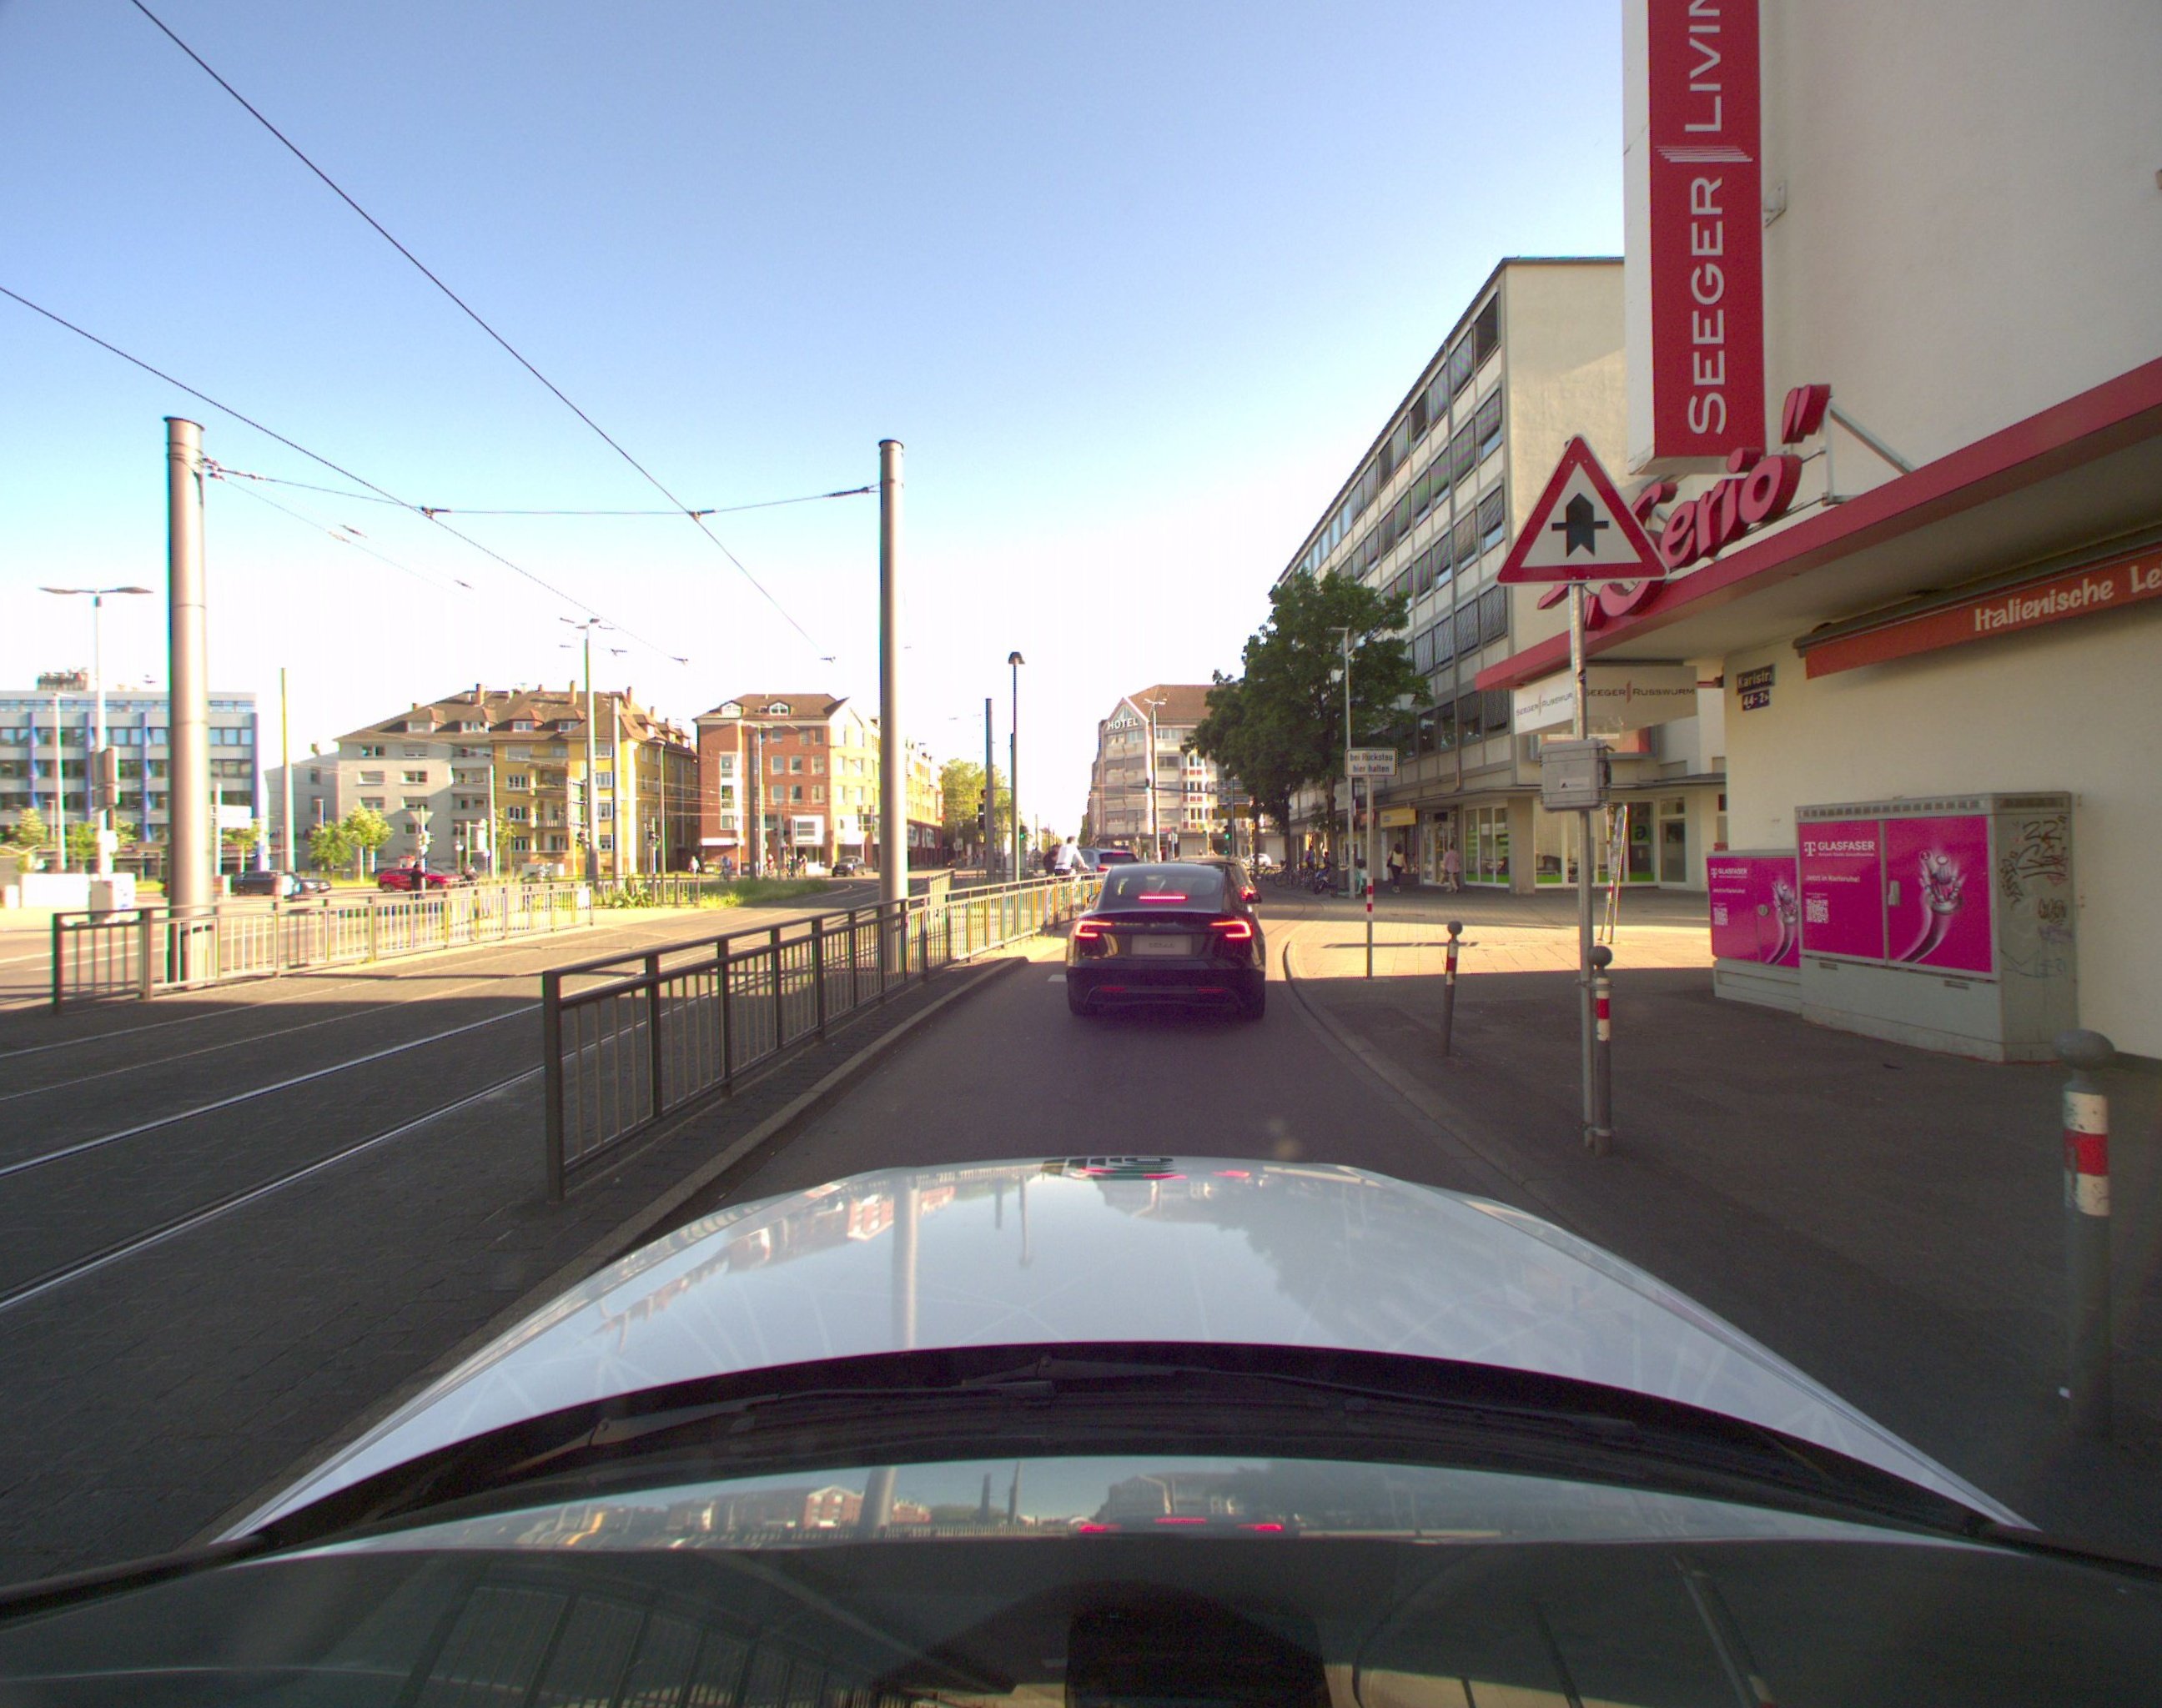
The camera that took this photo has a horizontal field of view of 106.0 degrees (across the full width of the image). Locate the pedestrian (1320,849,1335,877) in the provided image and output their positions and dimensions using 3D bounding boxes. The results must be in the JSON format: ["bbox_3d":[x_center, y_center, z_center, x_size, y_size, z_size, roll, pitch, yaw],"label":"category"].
[{"bbox_3d":[12.686,0.467,41.912,0.640,1.422,0.623,-1,-1,12],"label":"pedestrian"}]

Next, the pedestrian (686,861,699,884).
[{"bbox_3d":[-28.217,1.340,59.134,0.624,1.688,0.703,0,1,-11],"label":"pedestrian"}]

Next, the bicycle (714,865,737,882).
[{"bbox_3d":[-22.302,1.225,51.140,0.527,1.013,1.887,0,-1,4],"label":"bicycle"}]

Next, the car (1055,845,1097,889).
[{"bbox_3d":[-0.177,0.509,32.483,1.568,1.618,3.782,0,-1,0],"label":"car"}]

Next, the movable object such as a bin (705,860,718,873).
[{"bbox_3d":[-39.776,1.361,87.713,0.995,1.437,1.093,0,-1,-8],"label":"movable object such as a bin"}]

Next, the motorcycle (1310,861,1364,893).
[{"bbox_3d":[9.151,0.806,29.157,1.781,1.130,0.504,0,-1,-1],"label":"motorcycle"}]

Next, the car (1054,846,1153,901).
[{"bbox_3d":[0.653,0.588,26.327,1.848,1.635,3.457,0,-1,-25],"label":"car"}]

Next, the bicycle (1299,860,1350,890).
[{"bbox_3d":[9.309,0.785,31.173,1.850,1.056,0.398,-2,0,-10],"label":"bicycle"}]

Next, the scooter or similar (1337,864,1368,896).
[{"bbox_3d":[8.939,0.847,26.810,0.959,1.043,0.160,-1,0,4],"label":"scooter or similar"}]

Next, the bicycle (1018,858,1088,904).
[{"bbox_3d":[-0.758,0.722,22.411,1.831,1.212,0.635,0,-1,-29],"label":"bicycle"}]

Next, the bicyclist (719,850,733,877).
[{"bbox_3d":[-22.313,0.599,51.134,0.518,1.673,0.771,0,-1,3],"label":"bicyclist"}]

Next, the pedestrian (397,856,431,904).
[{"bbox_3d":[-26.945,1.033,32.900,0.716,1.934,0.802,-1,-1,22],"label":"pedestrian"}]

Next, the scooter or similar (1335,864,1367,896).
[{"bbox_3d":[8.953,0.861,27.008,0.952,1.039,0.160,-1,0,4],"label":"scooter or similar"}]

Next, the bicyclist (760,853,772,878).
[{"bbox_3d":[-21.444,0.780,55.467,0.518,1.673,0.771,0,-1,3],"label":"bicyclist"}]

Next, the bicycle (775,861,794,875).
[{"bbox_3d":[-22.125,1.047,60.837,0.647,1.013,1.887,0,-1,4],"label":"bicycle"}]

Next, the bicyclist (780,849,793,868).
[{"bbox_3d":[-22.094,0.352,61.063,0.661,1.454,0.731,0,-1,3],"label":"bicyclist"}]

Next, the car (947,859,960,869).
[{"bbox_3d":[-20.728,1.599,132.697,1.814,1.454,3.971,-2,0,-5],"label":"car"}]

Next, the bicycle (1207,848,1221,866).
[{"bbox_3d":[11.187,0.230,68.609,0.583,1.463,1.678,-1,0,-13],"label":"bicycle"}]

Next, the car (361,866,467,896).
[{"bbox_3d":[-39.537,1.580,48.386,4.548,1.509,1.777,-2,0,-9],"label":"car"}]

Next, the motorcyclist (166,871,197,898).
[{"bbox_3d":[-51.766,1.747,46.881,0.919,1.524,0.781,0,-1,-5],"label":"motorcyclist"}]

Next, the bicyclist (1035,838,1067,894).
[{"bbox_3d":[-0.824,0.331,22.383,0.685,1.523,0.629,0,-1,-29],"label":"bicyclist"}]

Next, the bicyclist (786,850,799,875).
[{"bbox_3d":[-19.355,0.568,54.686,0.522,1.673,0.771,0,-1,3],"label":"bicyclist"}]

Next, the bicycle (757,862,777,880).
[{"bbox_3d":[-21.429,1.148,55.637,0.527,1.214,1.887,0,-1,4],"label":"bicycle"}]

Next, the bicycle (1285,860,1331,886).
[{"bbox_3d":[9.259,0.776,33.242,1.758,1.057,0.459,0,-1,6],"label":"bicycle"}]

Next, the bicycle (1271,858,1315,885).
[{"bbox_3d":[9.178,0.750,35.281,1.805,1.151,0.435,-1,-1,-3],"label":"bicycle"}]

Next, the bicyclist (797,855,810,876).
[{"bbox_3d":[-21.732,0.927,63.811,0.584,1.649,0.809,-1,-1,11],"label":"bicyclist"}]

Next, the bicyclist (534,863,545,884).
[{"bbox_3d":[-34.778,1.266,52.298,0.459,1.316,0.398,0,-1,-14],"label":"bicyclist"}]

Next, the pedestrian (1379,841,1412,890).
[{"bbox_3d":[11.148,0.409,28.864,0.840,1.707,0.880,0,-1,1],"label":"pedestrian"}]

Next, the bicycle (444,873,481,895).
[{"bbox_3d":[-34.894,1.687,45.956,1.497,1.133,0.609,-2,0,-13],"label":"bicycle"}]

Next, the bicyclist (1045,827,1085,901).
[{"bbox_3d":[-0.355,0.230,18.363,0.687,1.631,0.571,0,-1,-42],"label":"bicyclist"}]

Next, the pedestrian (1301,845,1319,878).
[{"bbox_3d":[11.862,0.386,42.140,0.837,1.721,0.883,-1,-1,13],"label":"pedestrian"}]

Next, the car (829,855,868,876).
[{"bbox_3d":[-18.054,0.901,63.395,1.678,1.560,4.124,0,-1,2],"label":"car"}]

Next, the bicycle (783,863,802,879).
[{"bbox_3d":[-19.352,1.122,54.690,0.527,1.013,1.899,0,-1,4],"label":"bicycle"}]

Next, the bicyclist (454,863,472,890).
[{"bbox_3d":[-34.866,1.254,45.968,0.615,1.493,0.607,0,-1,-12],"label":"bicyclist"}]

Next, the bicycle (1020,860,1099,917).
[{"bbox_3d":[-0.459,0.746,18.264,1.836,1.212,0.575,0,-1,-42],"label":"bicycle"}]

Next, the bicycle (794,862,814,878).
[{"bbox_3d":[-21.742,1.250,64.001,0.570,1.291,2.032,-1,-1,10],"label":"bicycle"}]

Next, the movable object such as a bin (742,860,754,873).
[{"bbox_3d":[-35.995,1.327,88.031,0.995,1.437,1.093,0,-1,-8],"label":"movable object such as a bin"}]

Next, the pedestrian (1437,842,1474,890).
[{"bbox_3d":[12.645,0.397,27.528,0.840,1.602,0.880,0,-1,1],"label":"pedestrian"}]

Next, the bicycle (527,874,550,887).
[{"bbox_3d":[-34.797,1.699,52.272,1.174,0.764,0.318,0,-1,-15],"label":"bicycle"}]

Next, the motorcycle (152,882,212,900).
[{"bbox_3d":[-51.747,2.098,46.884,2.355,0.984,0.790,0,-1,-6],"label":"motorcycle"}]

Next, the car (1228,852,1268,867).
[{"bbox_3d":[17.628,0.574,86.228,3.832,1.432,1.801,-1,-2,-4],"label":"car"}]

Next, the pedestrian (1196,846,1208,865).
[{"bbox_3d":[10.172,0.127,68.615,0.780,1.576,0.864,0,1,-13],"label":"pedestrian"}]

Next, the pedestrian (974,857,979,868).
[{"bbox_3d":[-14.080,1.183,109.711,0.584,1.531,0.634,0,-1,-15],"label":"pedestrian"}]

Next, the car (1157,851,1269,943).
[{"bbox_3d":[2.357,0.681,15.219,1.755,1.444,4.537,0,0,7],"label":"car"}]

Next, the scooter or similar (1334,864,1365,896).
[{"bbox_3d":[8.968,0.872,27.208,0.959,1.027,0.160,-1,0,4],"label":"scooter or similar"}]

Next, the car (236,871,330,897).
[{"bbox_3d":[-46.418,1.731,47.415,3.695,1.472,1.572,0,-1,-6],"label":"car"}]

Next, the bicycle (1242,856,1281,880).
[{"bbox_3d":[9.380,0.730,42.346,1.882,1.156,0.480,-2,-1,2],"label":"bicycle"}]

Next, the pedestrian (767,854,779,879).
[{"bbox_3d":[-25.898,1.054,68.499,0.592,2.014,0.831,0,-1,4],"label":"pedestrian"}]

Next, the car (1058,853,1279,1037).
[{"bbox_3d":[0.932,0.734,8.597,1.781,1.450,3.947,0,1,7],"label":"car"}]
